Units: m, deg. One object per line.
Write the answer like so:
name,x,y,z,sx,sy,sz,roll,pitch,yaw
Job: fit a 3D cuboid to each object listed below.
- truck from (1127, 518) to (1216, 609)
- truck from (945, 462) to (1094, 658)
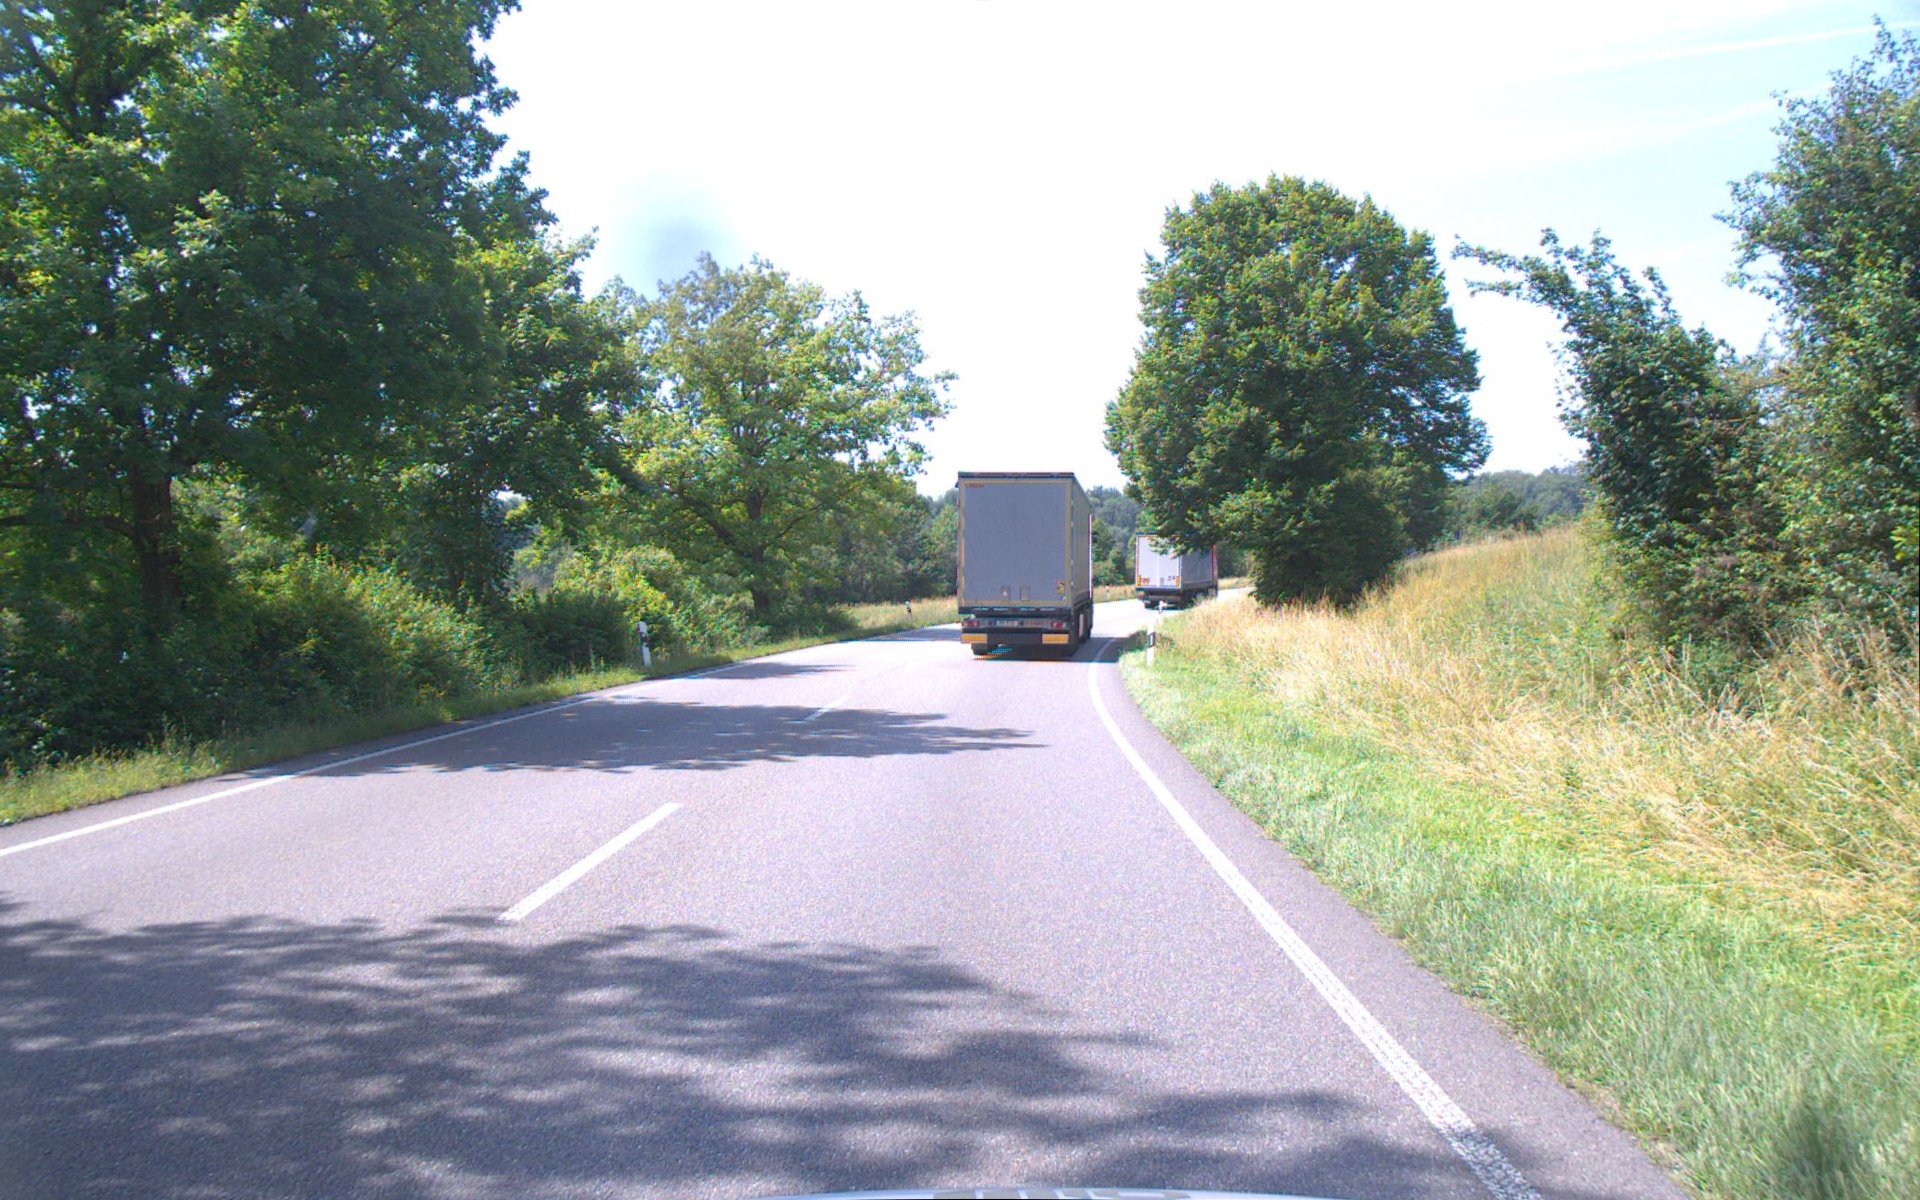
truck,12.447,-2.044,95.691,3.039,4.787,16.603,-1,1,14
truck,1.883,-0.966,42.723,2.742,4.139,15.337,1,1,6
